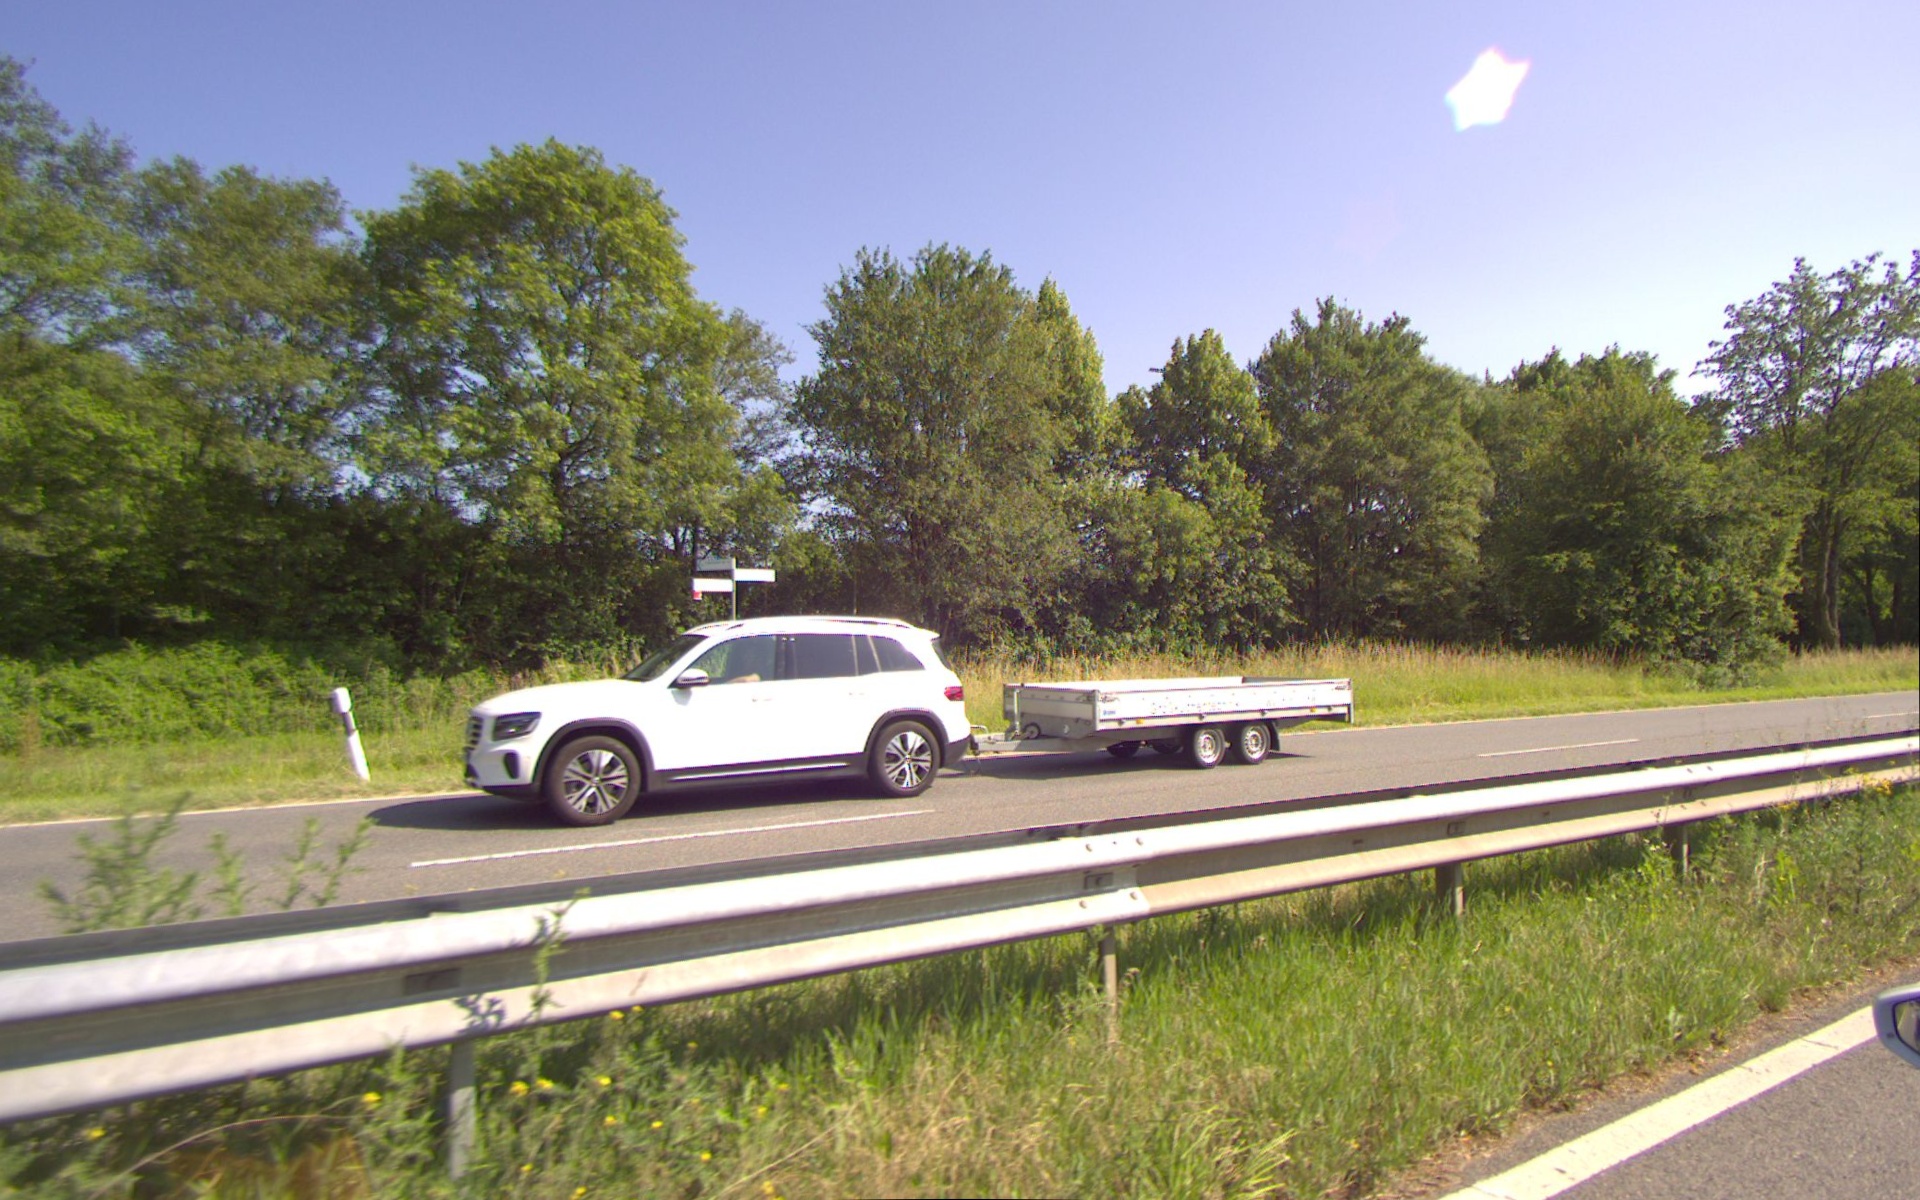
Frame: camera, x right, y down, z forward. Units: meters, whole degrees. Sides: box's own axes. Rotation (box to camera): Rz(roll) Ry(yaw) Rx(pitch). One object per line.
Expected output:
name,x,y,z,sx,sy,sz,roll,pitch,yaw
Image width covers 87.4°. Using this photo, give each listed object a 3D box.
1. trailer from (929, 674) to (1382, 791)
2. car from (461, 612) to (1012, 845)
trailer,2.501,1.482,12.209,5.532,0.973,1.955,1,-3,-31
car,-2.026,1.022,9.545,4.757,1.723,1.984,1,-2,-31
